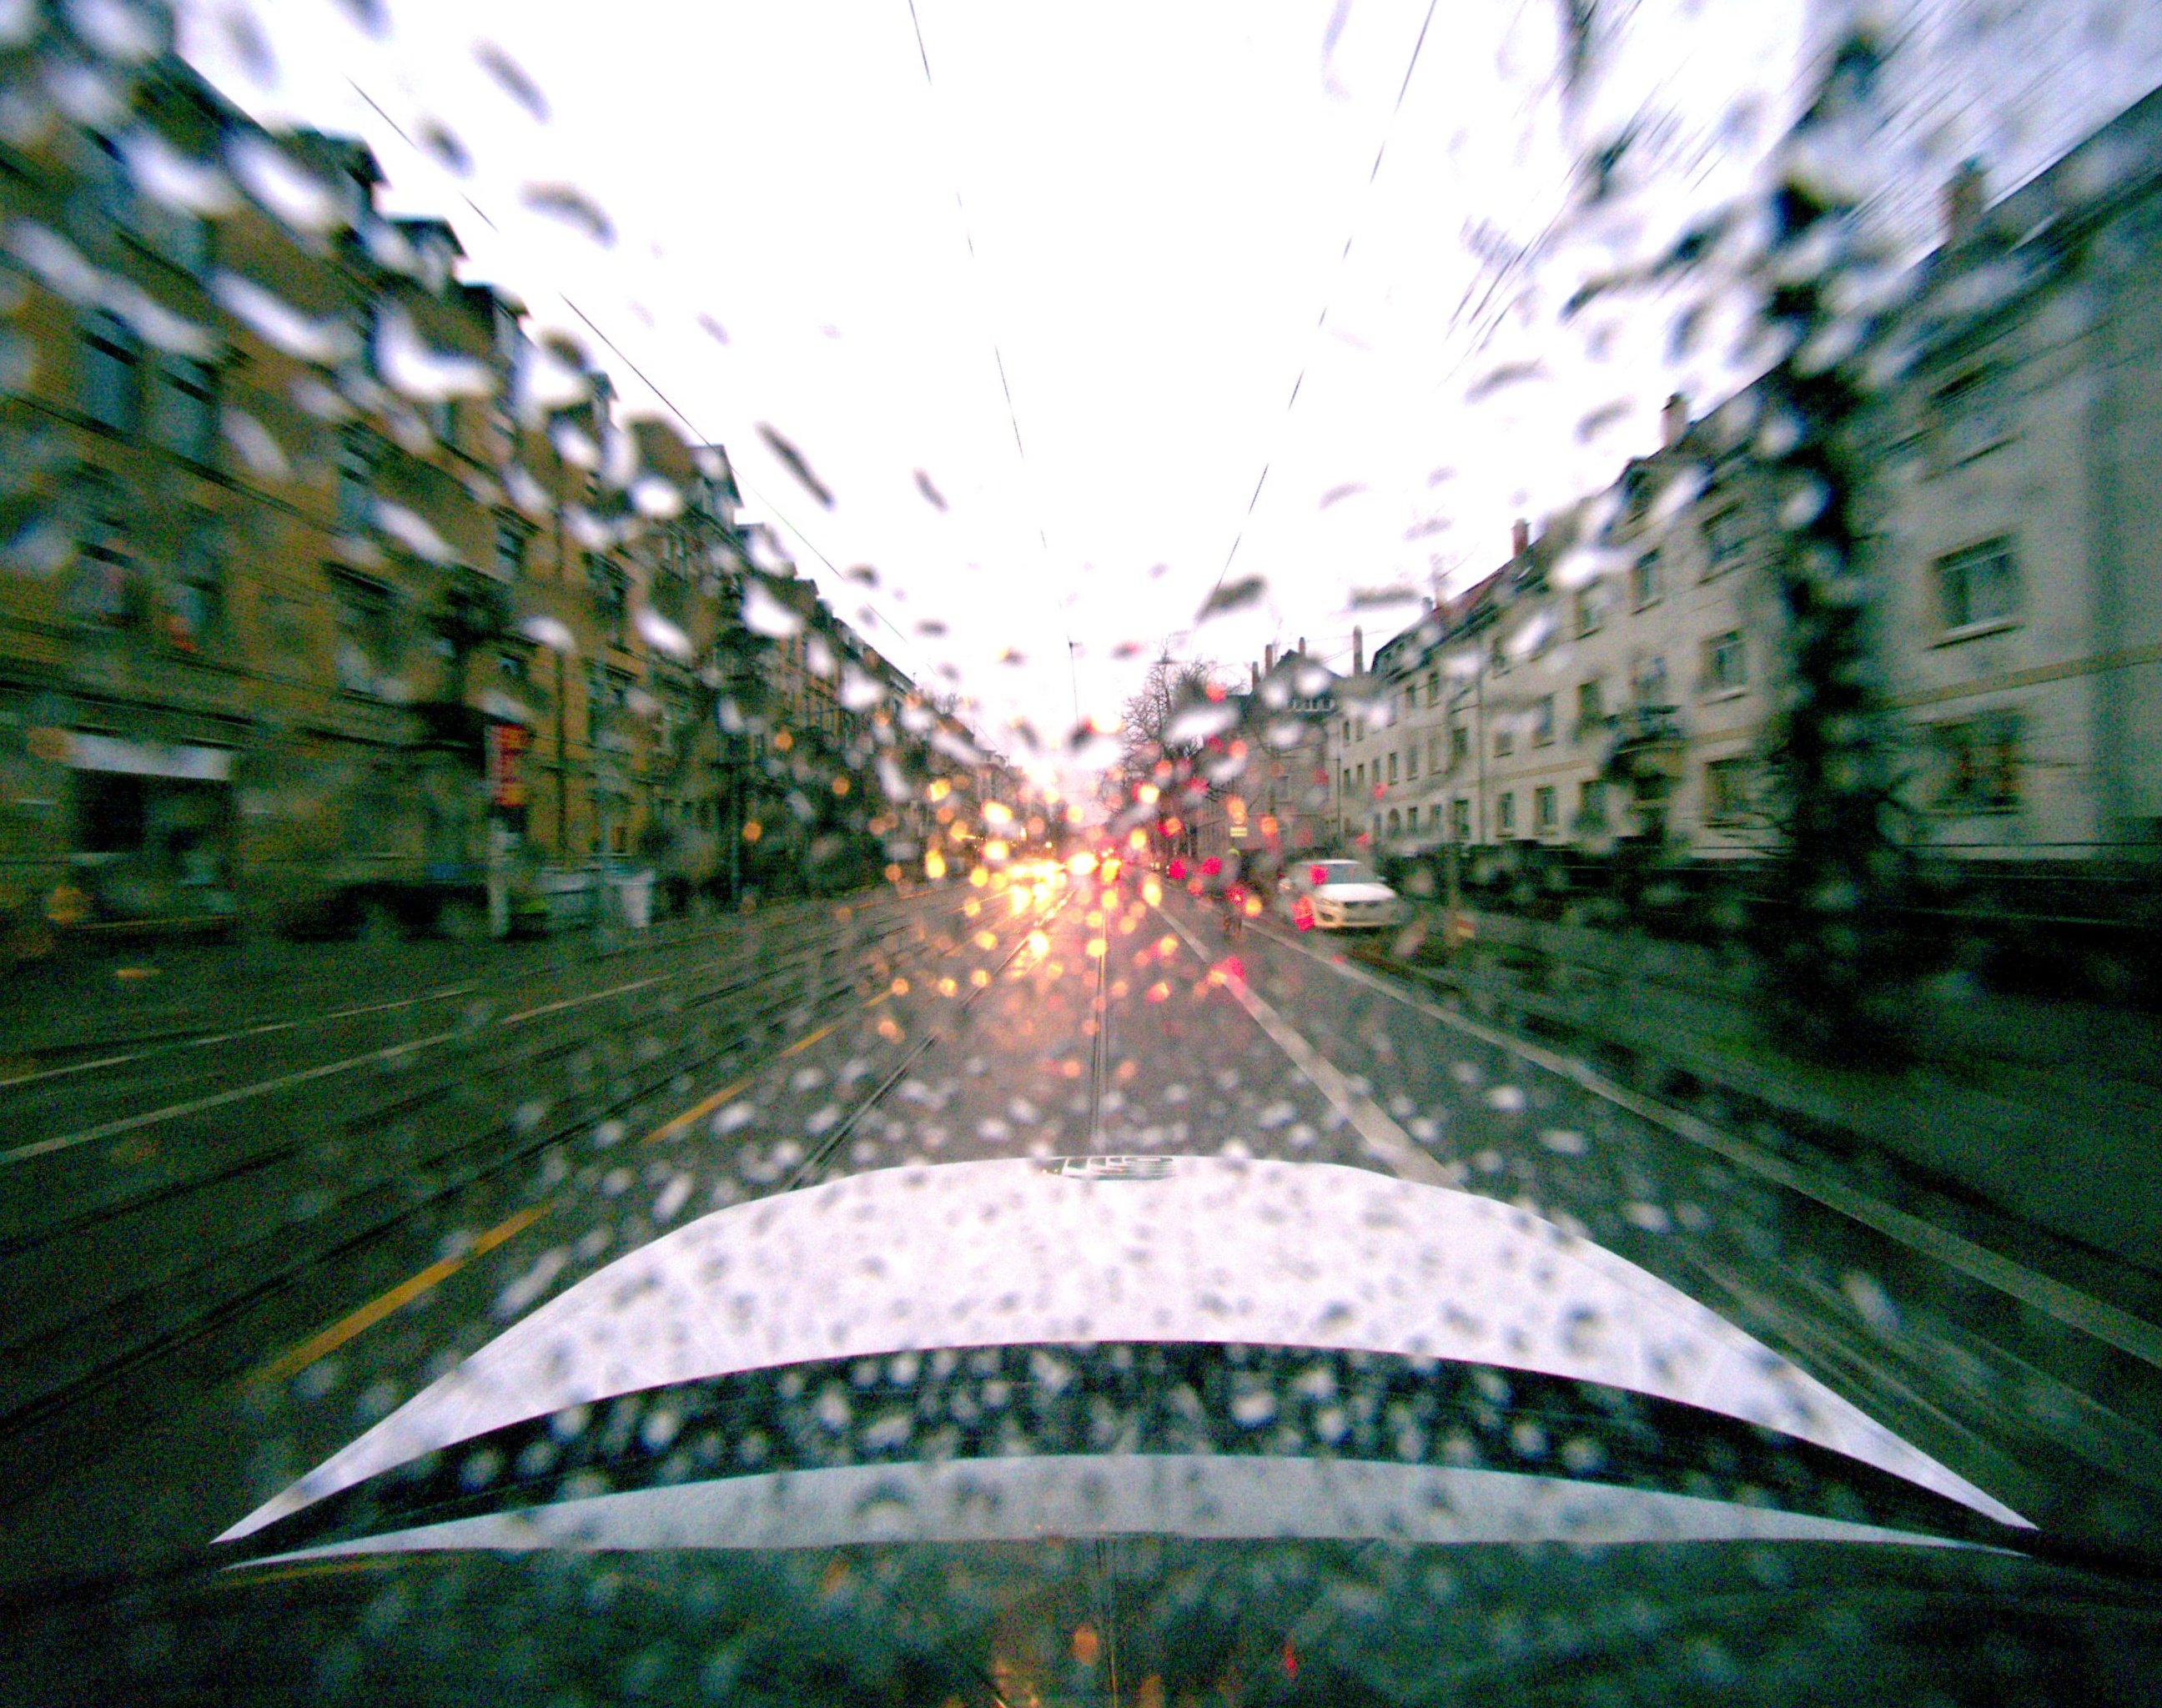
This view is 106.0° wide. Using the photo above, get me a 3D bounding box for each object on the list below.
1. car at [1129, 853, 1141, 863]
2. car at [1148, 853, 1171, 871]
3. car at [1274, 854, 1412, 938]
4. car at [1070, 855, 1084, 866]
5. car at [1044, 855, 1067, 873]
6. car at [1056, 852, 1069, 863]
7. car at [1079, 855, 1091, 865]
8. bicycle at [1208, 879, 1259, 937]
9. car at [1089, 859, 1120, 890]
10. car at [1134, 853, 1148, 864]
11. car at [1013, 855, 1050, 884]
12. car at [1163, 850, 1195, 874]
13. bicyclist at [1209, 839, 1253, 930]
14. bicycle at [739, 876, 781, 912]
[{"bbox_3d":[8.746,0.583,132.176,1.778,1.509,4.110,-2,0,2],"label":"car"},{"bbox_3d":[7.042,0.702,73.205,1.778,1.509,4.110,-2,0,2],"label":"car"},{"bbox_3d":[5.373,0.781,17.260,1.778,1.509,4.111,-2,0,3],"label":"car"},{"bbox_3d":[-0.579,0.942,124.824,1.916,1.662,4.002,-2,0,2],"label":"car"},{"bbox_3d":[-2.357,0.930,77.292,1.916,1.662,4.002,-2,0,2],"label":"car"},{"bbox_3d":[-3.054,0.614,135.658,1.916,1.720,4.002,-2,0,2],"label":"car"},{"bbox_3d":[0.736,1.039,144.748,1.916,1.662,4.001,-1,0,2],"label":"car"},{"bbox_3d":[2.956,1.024,15.910,0.728,1.007,1.765,-1,0,3],"label":"bicycle"},{"bbox_3d":[1.580,1.301,53.802,1.793,1.871,4.023,1,0,5],"label":"car"},{"bbox_3d":[8.719,0.598,118.548,1.778,1.509,4.110,-2,0,2],"label":"car"},{"bbox_3d":[-3.013,0.933,50.422,1.916,1.662,4.002,-2,0,2],"label":"car"},{"bbox_3d":[6.593,0.535,55.178,1.778,1.509,4.110,-2,0,2],"label":"car"},{"bbox_3d":[2.944,0.591,16.011,0.727,1.736,0.766,-1,0,2],"label":"bicyclist"},{"bbox_3d":[-9.882,1.206,25.095,0.494,1.007,1.765,-1,0,3],"label":"bicycle"}]
